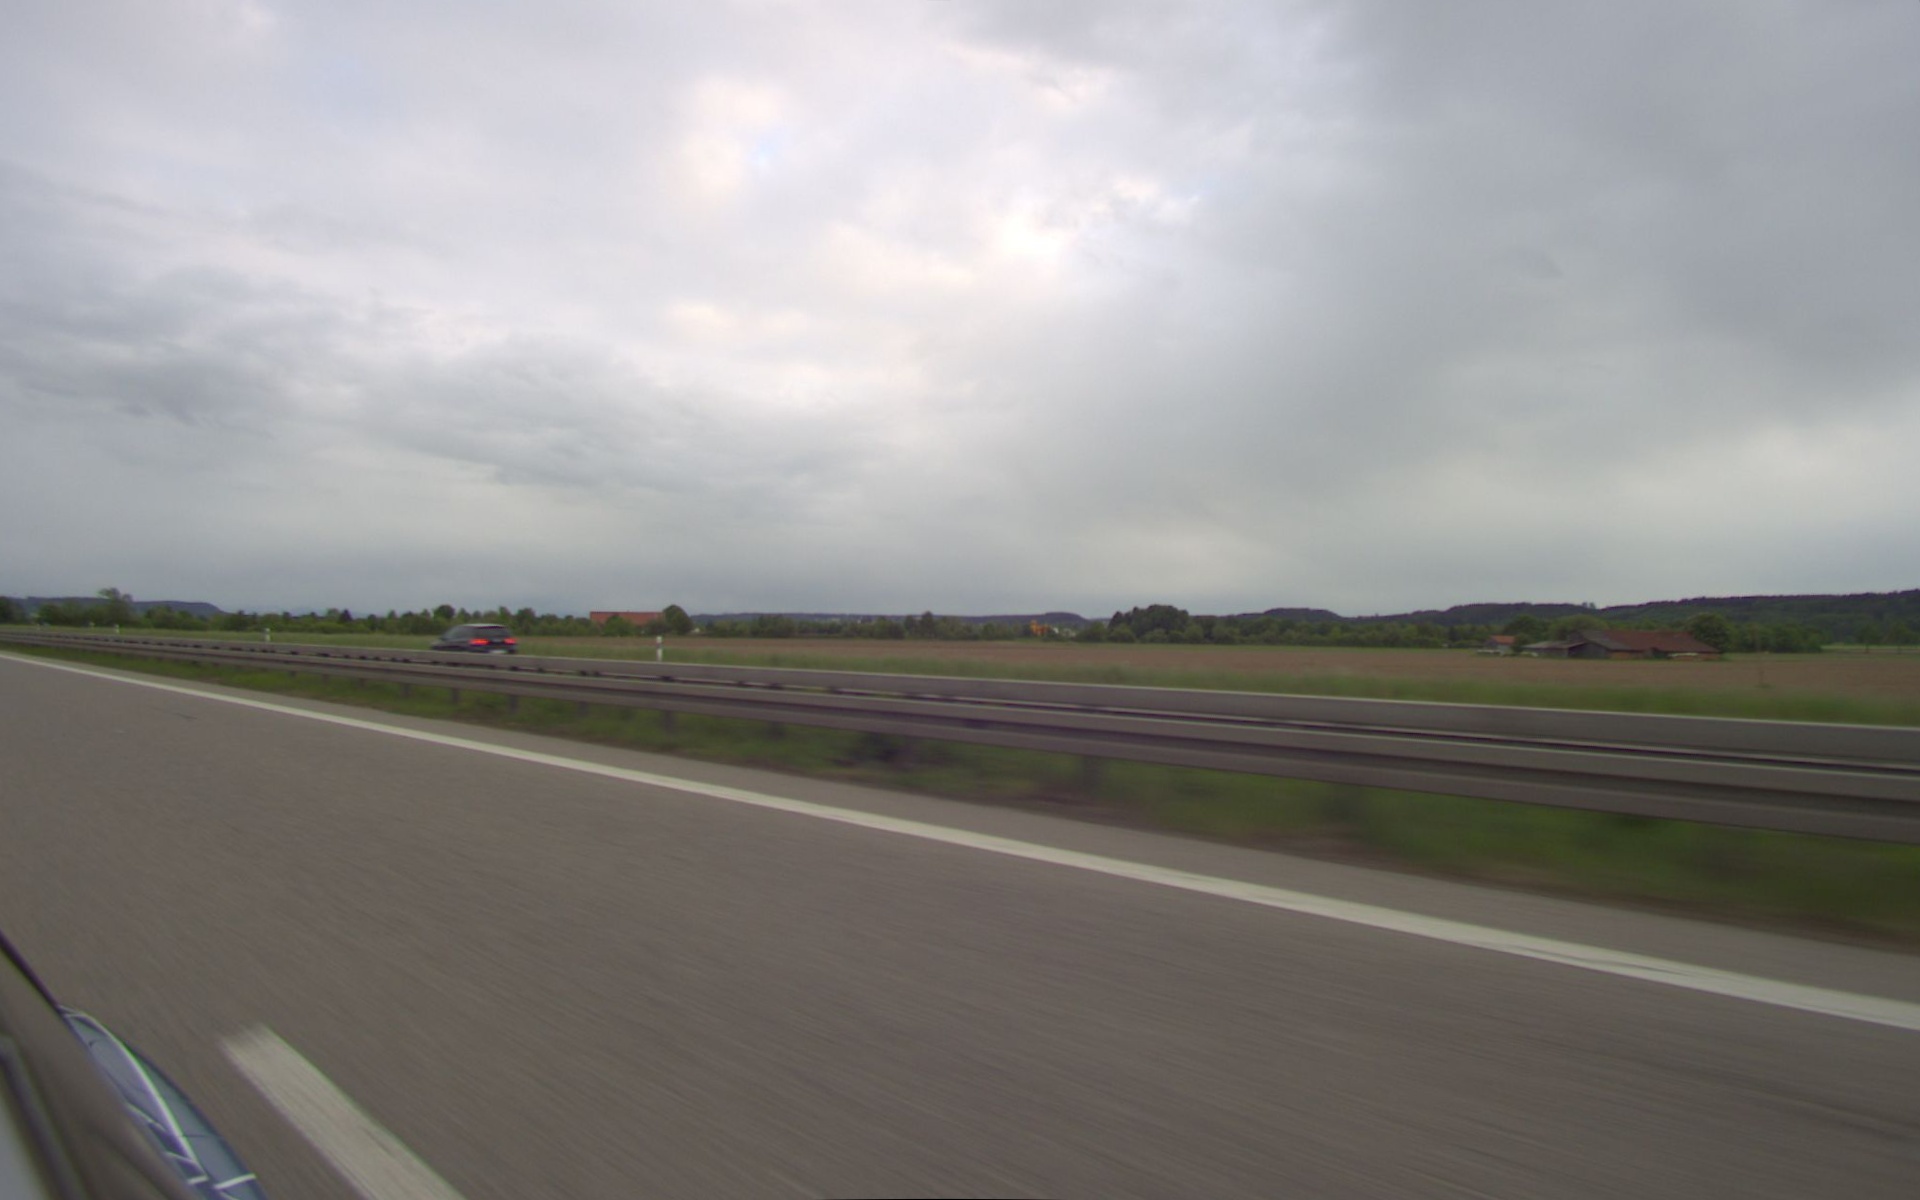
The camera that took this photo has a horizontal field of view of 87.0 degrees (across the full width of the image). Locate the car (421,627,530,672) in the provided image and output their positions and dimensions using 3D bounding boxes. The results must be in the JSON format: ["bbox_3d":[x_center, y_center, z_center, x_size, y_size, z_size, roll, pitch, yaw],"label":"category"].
[{"bbox_3d":[-17.595,1.746,36.677,4.449,1.491,1.973,-1,-1,41],"label":"car"}]
